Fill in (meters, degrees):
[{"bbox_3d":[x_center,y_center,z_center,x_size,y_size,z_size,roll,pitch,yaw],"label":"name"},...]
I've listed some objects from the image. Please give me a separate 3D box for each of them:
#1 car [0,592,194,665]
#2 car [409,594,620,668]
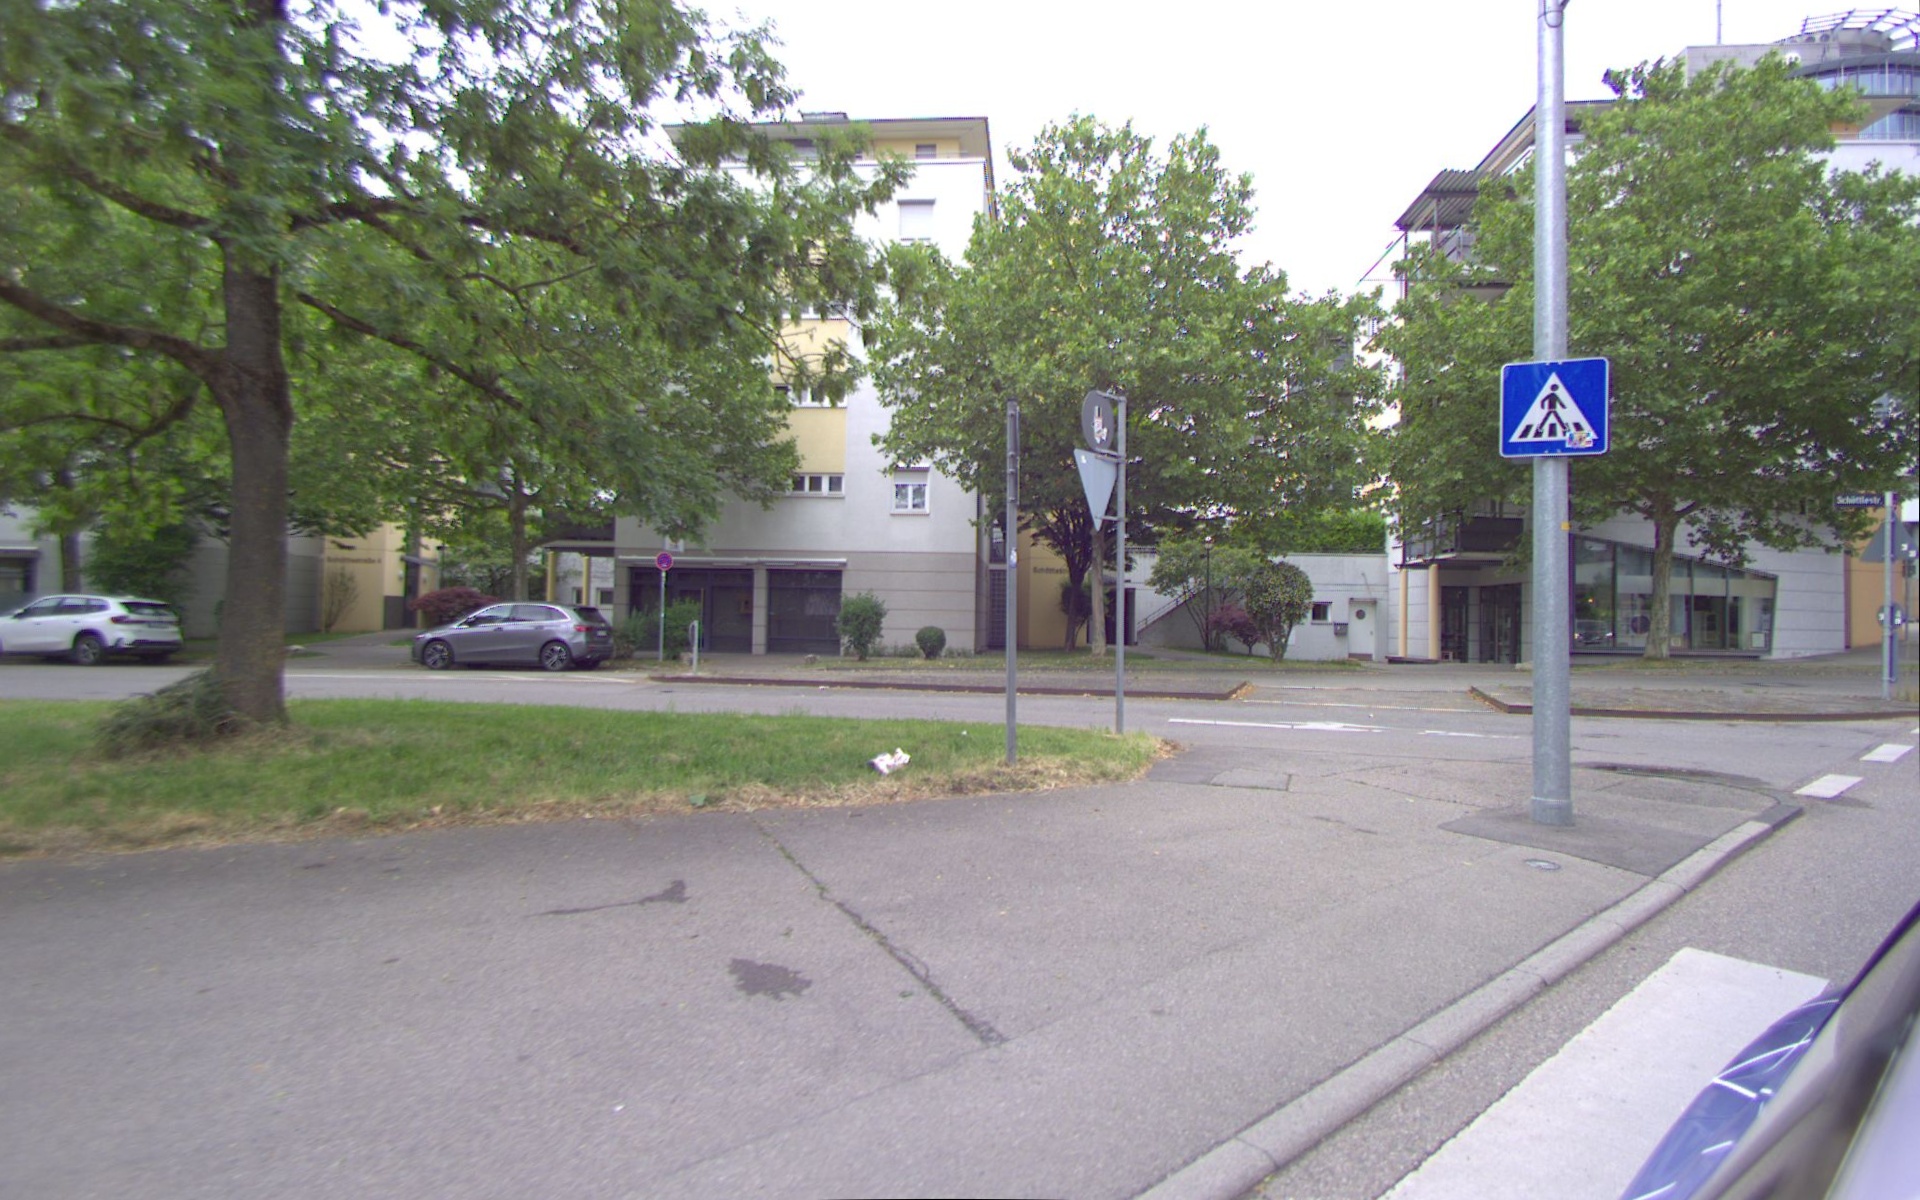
[{"bbox_3d":[-20.632,0.691,23.680,4.173,1.619,1.781,0,-3,5],"label":"car"},{"bbox_3d":[-9.981,0.737,22.875,3.946,1.589,1.877,0,-4,4],"label":"car"}]
